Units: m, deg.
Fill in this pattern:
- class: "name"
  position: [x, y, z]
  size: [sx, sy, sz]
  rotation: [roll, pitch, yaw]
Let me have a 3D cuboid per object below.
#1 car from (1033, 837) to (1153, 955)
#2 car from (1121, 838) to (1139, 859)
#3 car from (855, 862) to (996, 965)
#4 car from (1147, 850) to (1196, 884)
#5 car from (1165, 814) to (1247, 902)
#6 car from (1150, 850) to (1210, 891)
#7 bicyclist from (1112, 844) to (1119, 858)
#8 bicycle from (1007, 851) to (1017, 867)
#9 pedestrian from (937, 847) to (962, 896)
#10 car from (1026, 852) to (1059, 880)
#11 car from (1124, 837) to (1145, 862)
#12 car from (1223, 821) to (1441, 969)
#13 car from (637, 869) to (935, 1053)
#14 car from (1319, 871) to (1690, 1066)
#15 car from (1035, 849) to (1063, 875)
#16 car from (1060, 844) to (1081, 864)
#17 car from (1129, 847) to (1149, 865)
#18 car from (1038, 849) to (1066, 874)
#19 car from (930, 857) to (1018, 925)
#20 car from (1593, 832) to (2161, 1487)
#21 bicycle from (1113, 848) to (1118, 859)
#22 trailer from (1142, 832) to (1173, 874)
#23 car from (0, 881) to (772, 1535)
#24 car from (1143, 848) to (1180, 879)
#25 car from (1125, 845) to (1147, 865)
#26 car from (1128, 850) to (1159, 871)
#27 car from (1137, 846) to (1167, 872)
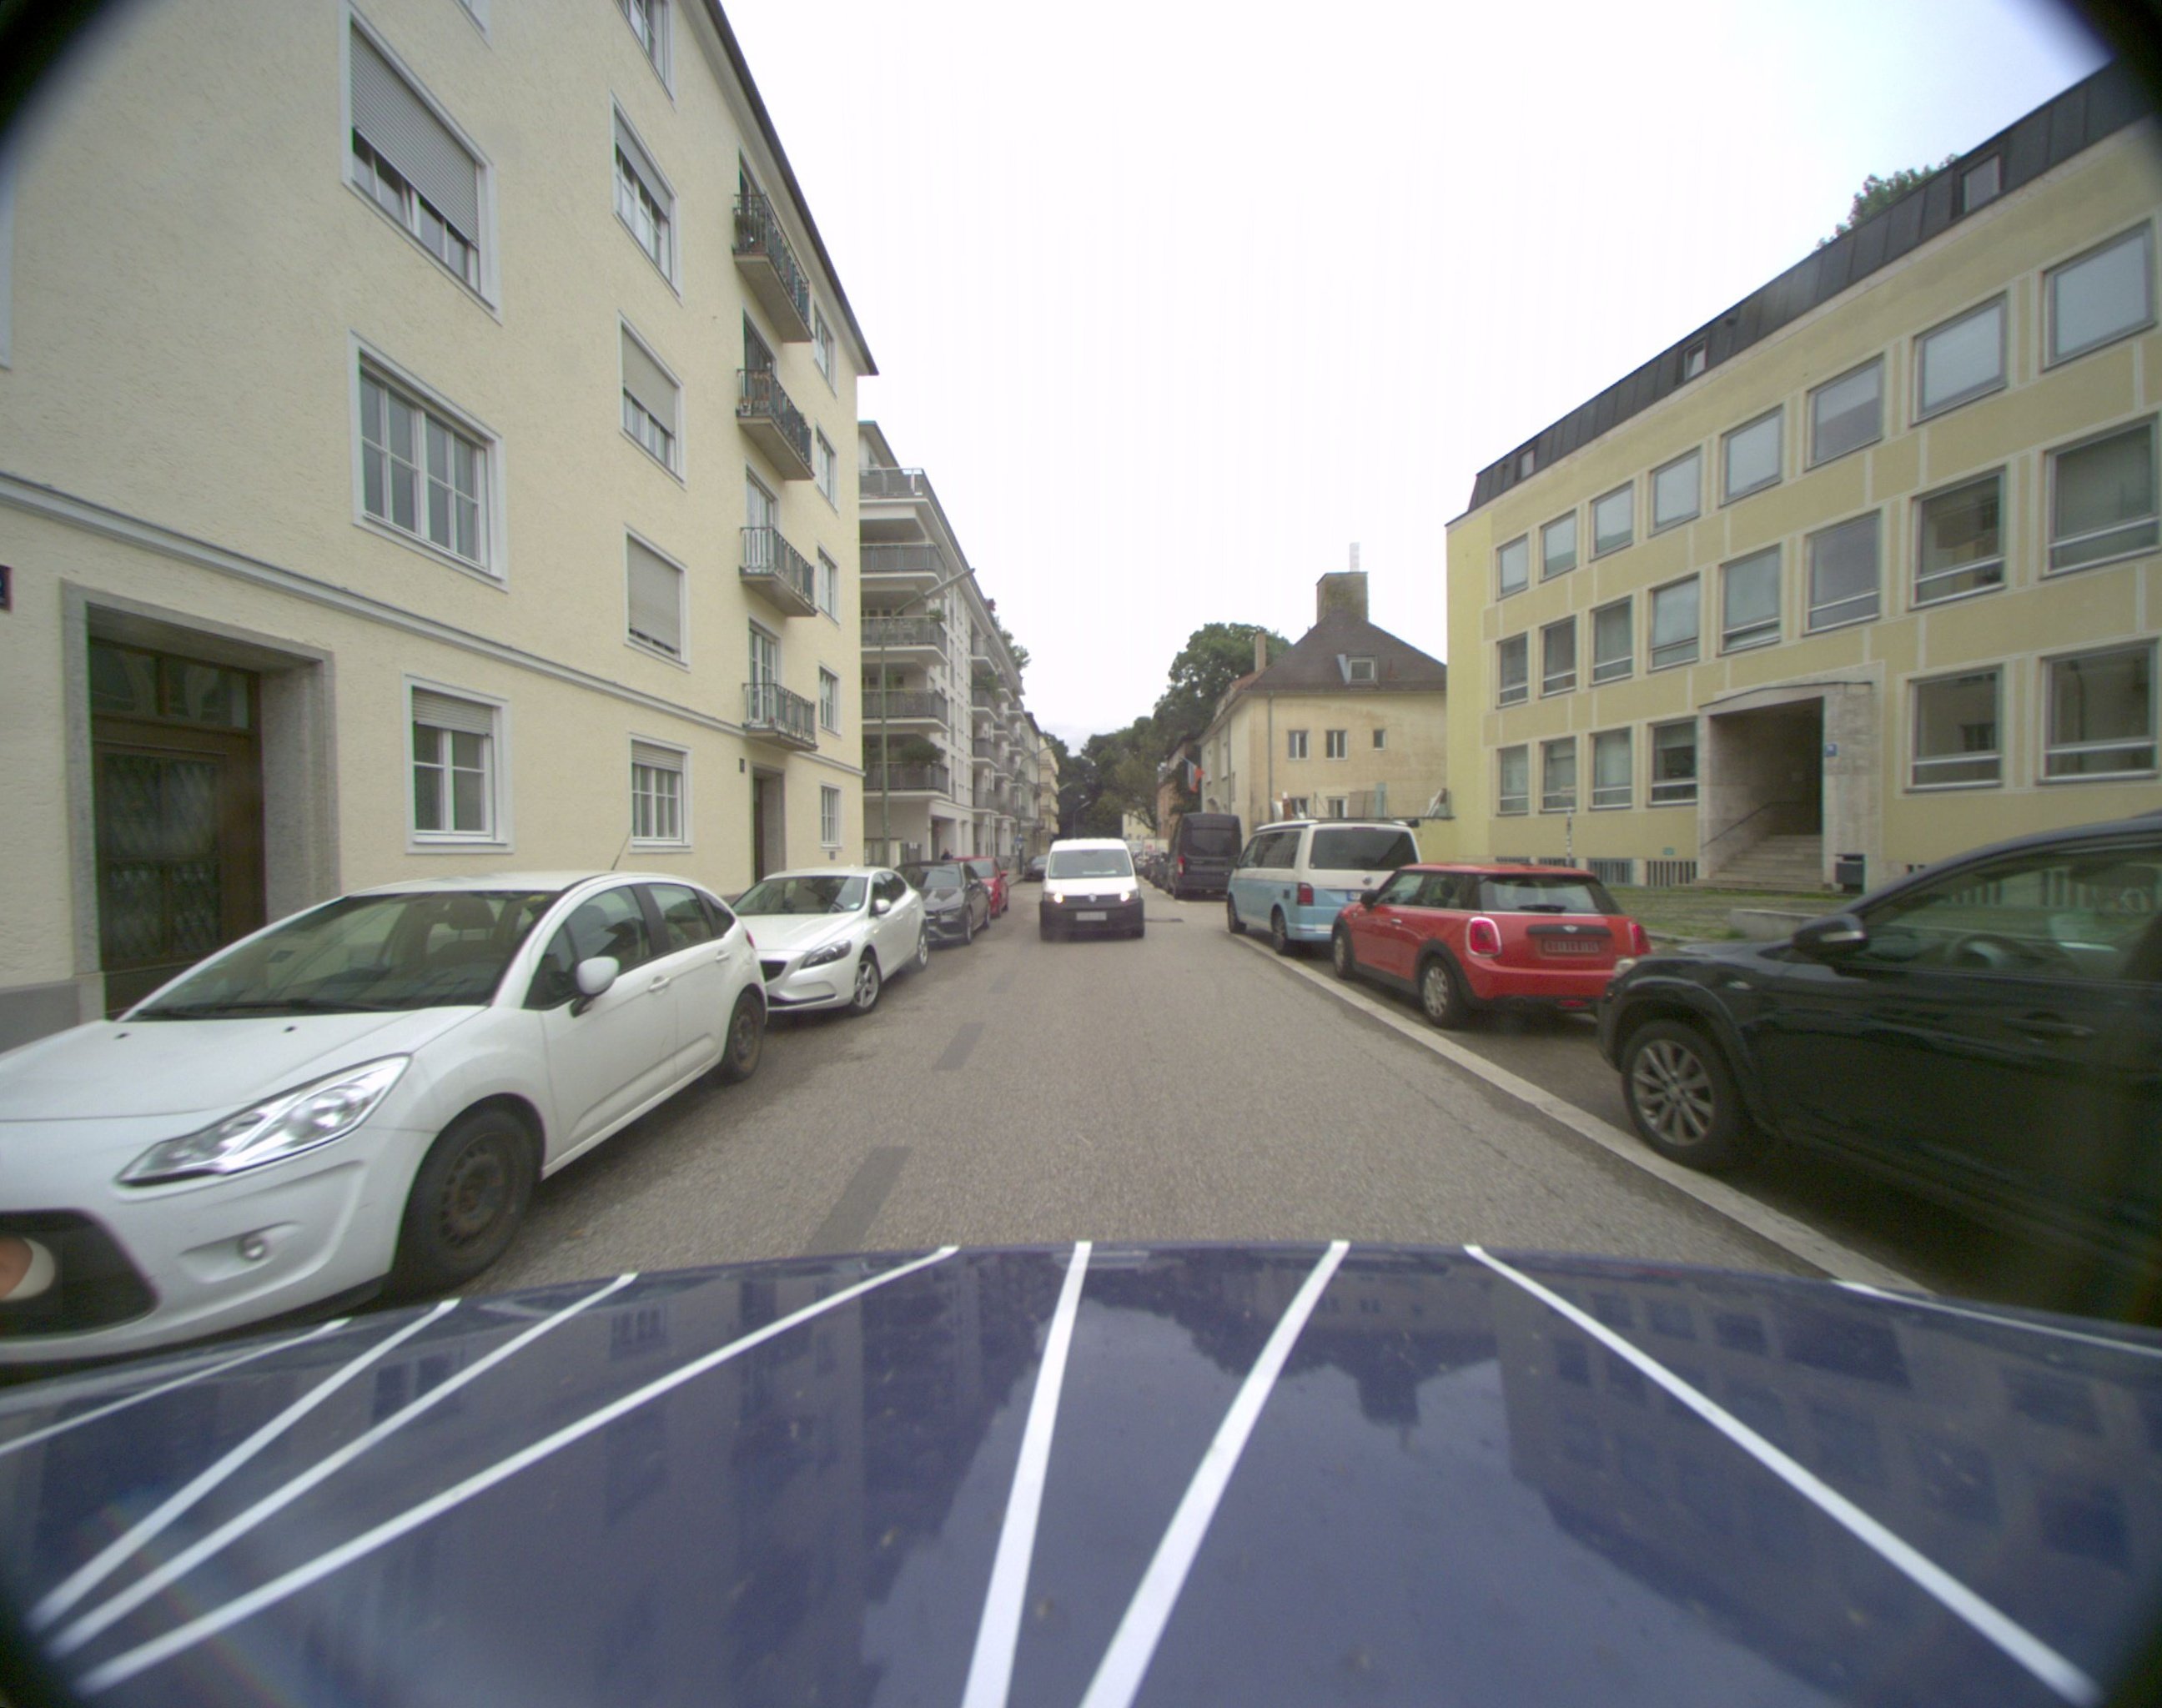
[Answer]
- class: "car"
  position: [0.283, 0.621, 13.558]
  size: [1.776, 1.761, 4.000]
  rotation: [-1, 1, 3]
- class: "car"
  position: [6.228, -0.723, 96.524]
  size: [2.118, 2.525, 4.421]
  rotation: [2, 0, 2]
- class: "car"
  position: [-2.671, 0.950, 14.009]
  size: [1.697, 1.483, 4.342]
  rotation: [0, 1, 0]
- class: "car"
  position: [4.138, 0.543, 35.102]
  size: [1.705, 1.437, 3.824]
  rotation: [-1, 1, -1]
- class: "car"
  position: [4.043, 0.120, 25.489]
  size: [2.093, 2.621, 5.377]
  rotation: [-1, 0, 3]
- class: "car"
  position: [3.921, 0.632, 30.594]
  size: [1.590, 1.529, 3.541]
  rotation: [-1, 0, -6]
- class: "bicyclist"
  position: [3.894, -0.356, 85.584]
  size: [0.695, 1.553, 0.967]
  rotation: [0, 1, 4]
- class: "bicycle"
  position: [-5.184, 0.373, 57.207]
  size: [0.629, 1.153, 2.127]
  rotation: [0, 1, -1]
- class: "pedestrian"
  position: [-4.851, 0.637, 28.090]
  size: [0.796, 1.718, 0.672]
  rotation: [-2, 3, -6]
- class: "car"
  position: [-2.124, 0.637, 42.897]
  size: [1.768, 1.400, 4.077]
  rotation: [-1, 1, -1]
- class: "car"
  position: [5.601, -0.499, 80.543]
  size: [1.986, 2.464, 5.222]
  rotation: [1, 1, 1]
- class: "car"
  position: [3.717, 0.529, 12.263]
  size: [1.887, 1.920, 4.600]
  rotation: [1, 0, -1]
- class: "car"
  position: [-2.919, 0.954, 8.600]
  size: [1.697, 1.483, 4.282]
  rotation: [0, 0, 0]
- class: "car"
  position: [3.800, 0.914, 7.624]
  size: [1.656, 1.365, 3.652]
  rotation: [1, 0, 0]
- class: "car"
  position: [-1.989, 0.484, 48.105]
  size: [1.523, 1.521, 3.526]
  rotation: [-2, 0, 1]
- class: "car"
  position: [-1.053, -0.028, 80.501]
  size: [1.858, 1.885, 4.592]
  rotation: [-3, 0, 3]
- class: "car"
  position: [4.878, 0.175, 64.215]
  size: [1.477, 1.458, 3.313]
  rotation: [1, 1, 0]
- class: "car"
  position: [-1.992, 0.509, 53.076]
  size: [1.738, 1.521, 4.620]
  rotation: [-3, 1, 0]
- class: "car"
  position: [-2.639, 0.869, 19.503]
  size: [1.599, 1.500, 3.800]
  rotation: [-1, 1, 1]
- class: "car"
  position: [3.643, 0.800, 2.099]
  size: [1.706, 1.681, 4.027]
  rotation: [1, 0, 0]
- class: "bicycle"
  position: [3.887, -0.064, 85.642]
  size: [0.505, 1.122, 1.773]
  rotation: [0, 1, 4]
- class: "trailer"
  position: [4.789, -0.080, 47.895]
  size: [1.713, 2.447, 4.387]
  rotation: [1, 1, 4]
- class: "car"
  position: [-3.083, 0.961, 3.772]
  size: [1.603, 1.483, 3.798]
  rotation: [-1, 0, -2]
- class: "car"
  position: [4.363, 0.479, 41.771]
  size: [1.770, 1.529, 4.541]
  rotation: [1, 1, 4]
- class: "car"
  position: [5.038, 0.067, 70.027]
  size: [1.694, 1.793, 4.144]
  rotation: [1, 1, 0]
- class: "car"
  position: [4.746, 0.453, 58.425]
  size: [1.865, 1.404, 4.332]
  rotation: [1, 1, -1]
- class: "car"
  position: [4.903, 0.326, 52.951]
  size: [1.691, 1.594, 3.920]
  rotation: [1, 2, 1]
